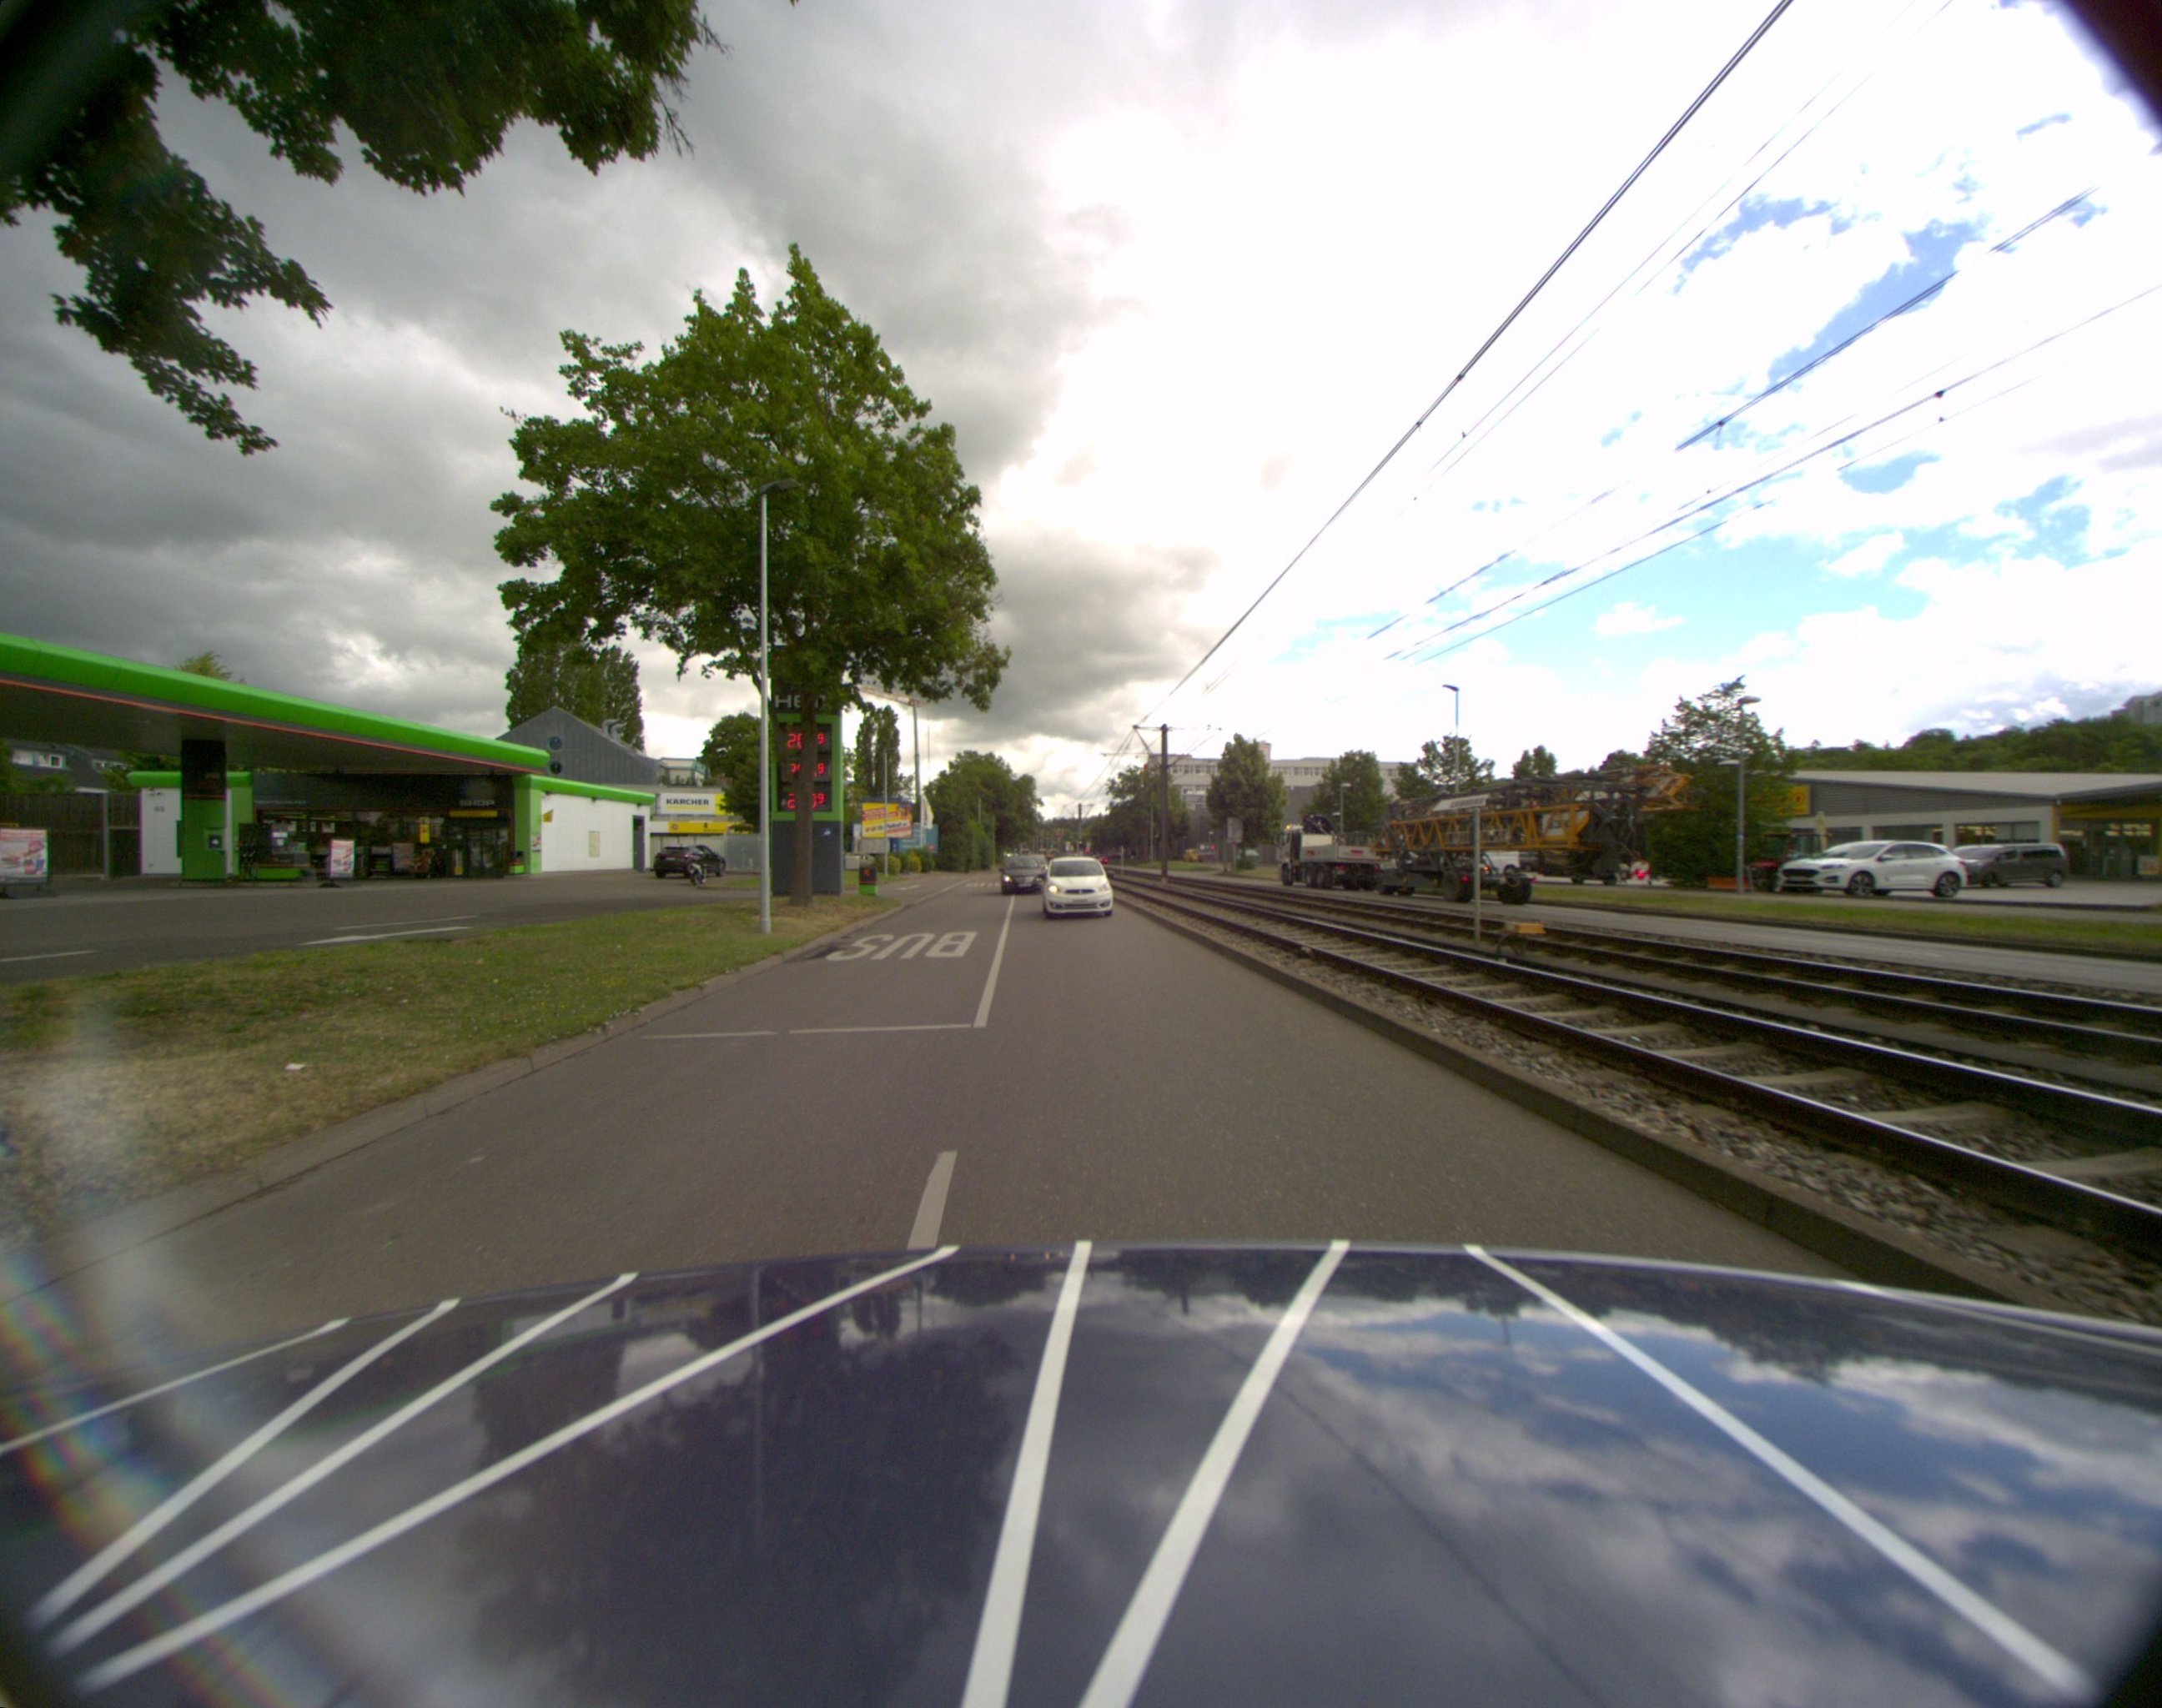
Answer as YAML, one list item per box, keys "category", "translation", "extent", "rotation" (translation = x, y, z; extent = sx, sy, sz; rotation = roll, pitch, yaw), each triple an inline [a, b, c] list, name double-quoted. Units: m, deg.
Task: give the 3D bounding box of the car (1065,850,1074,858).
- category: "car"
  translation: [-2.934, 0.010, 195.262]
  extent: [1.999, 2.002, 3.997]
  rotation: [-3, 1, -6]

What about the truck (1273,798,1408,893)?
- category: "truck"
  translation: [11.957, -0.341, 36.112]
  extent: [2.900, 3.943, 8.627]
  rotation: [0, 0, -4]

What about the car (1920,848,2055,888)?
- category: "car"
  translation: [39.276, 0.590, 32.976]
  extent: [3.999, 1.498, 1.776]
  rotation: [-3, 1, -5]

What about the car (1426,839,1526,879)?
- category: "car"
  translation: [21.255, 0.264, 41.010]
  extent: [4.357, 1.908, 2.000]
  rotation: [-3, 1, -1]

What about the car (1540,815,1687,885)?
- category: "car"
  translation: [21.842, -0.159, 31.312]
  extent: [4.483, 2.733, 2.288]
  rotation: [1, 1, -5]

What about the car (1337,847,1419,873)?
- category: "car"
  translation: [19.644, 0.376, 50.450]
  extent: [4.613, 1.484, 2.000]
  rotation: [-3, 1, -1]

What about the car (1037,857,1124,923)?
- category: "car"
  translation: [-0.114, 0.858, 19.822]
  extent: [1.787, 1.435, 3.997]
  rotation: [-3, 0, -6]

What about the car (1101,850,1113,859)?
- category: "car"
  translation: [5.796, 0.136, 167.007]
  extent: [1.999, 2.002, 3.997]
  rotation: [-3, 1, -6]

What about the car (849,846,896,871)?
- category: "car"
  translation: [-15.727, 0.331, 57.405]
  extent: [3.247, 1.782, 1.543]
  rotation: [-3, 1, -15]

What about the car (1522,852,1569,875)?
- category: "car"
  translation: [34.421, 0.691, 56.314]
  extent: [2.752, 1.613, 1.366]
  rotation: [-3, 1, -13]

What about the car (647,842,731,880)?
- category: "car"
  translation: [-19.000, 0.310, 37.063]
  extent: [1.999, 1.629, 4.325]
  rotation: [2, 0, -4]

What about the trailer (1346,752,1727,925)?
- category: "trailer"
  translation: [12.965, -0.367, 24.617]
  extent: [2.679, 3.874, 14.419]
  rotation: [2, 0, -4]

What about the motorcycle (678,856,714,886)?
- category: "motorcycle"
  translation: [-15.977, 0.680, 31.586]
  extent: [0.705, 1.180, 2.386]
  rotation: [0, 0, -10]

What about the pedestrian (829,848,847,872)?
- category: "pedestrian"
  translation: [-17.883, 0.429, 55.934]
  extent: [1.043, 1.688, 1.074]
  rotation: [-3, 1, -24]

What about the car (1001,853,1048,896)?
- category: "car"
  translation: [-2.444, 0.818, 32.302]
  extent: [1.787, 1.614, 3.997]
  rotation: [-3, 0, -6]

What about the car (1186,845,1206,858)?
- category: "car"
  translation: [17.109, -0.377, 113.019]
  extent: [1.999, 2.002, 3.998]
  rotation: [0, 0, -5]

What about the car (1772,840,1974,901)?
- category: "car"
  translation: [23.244, 0.453, 22.370]
  extent: [4.484, 1.498, 1.794]
  rotation: [-3, 1, -7]
